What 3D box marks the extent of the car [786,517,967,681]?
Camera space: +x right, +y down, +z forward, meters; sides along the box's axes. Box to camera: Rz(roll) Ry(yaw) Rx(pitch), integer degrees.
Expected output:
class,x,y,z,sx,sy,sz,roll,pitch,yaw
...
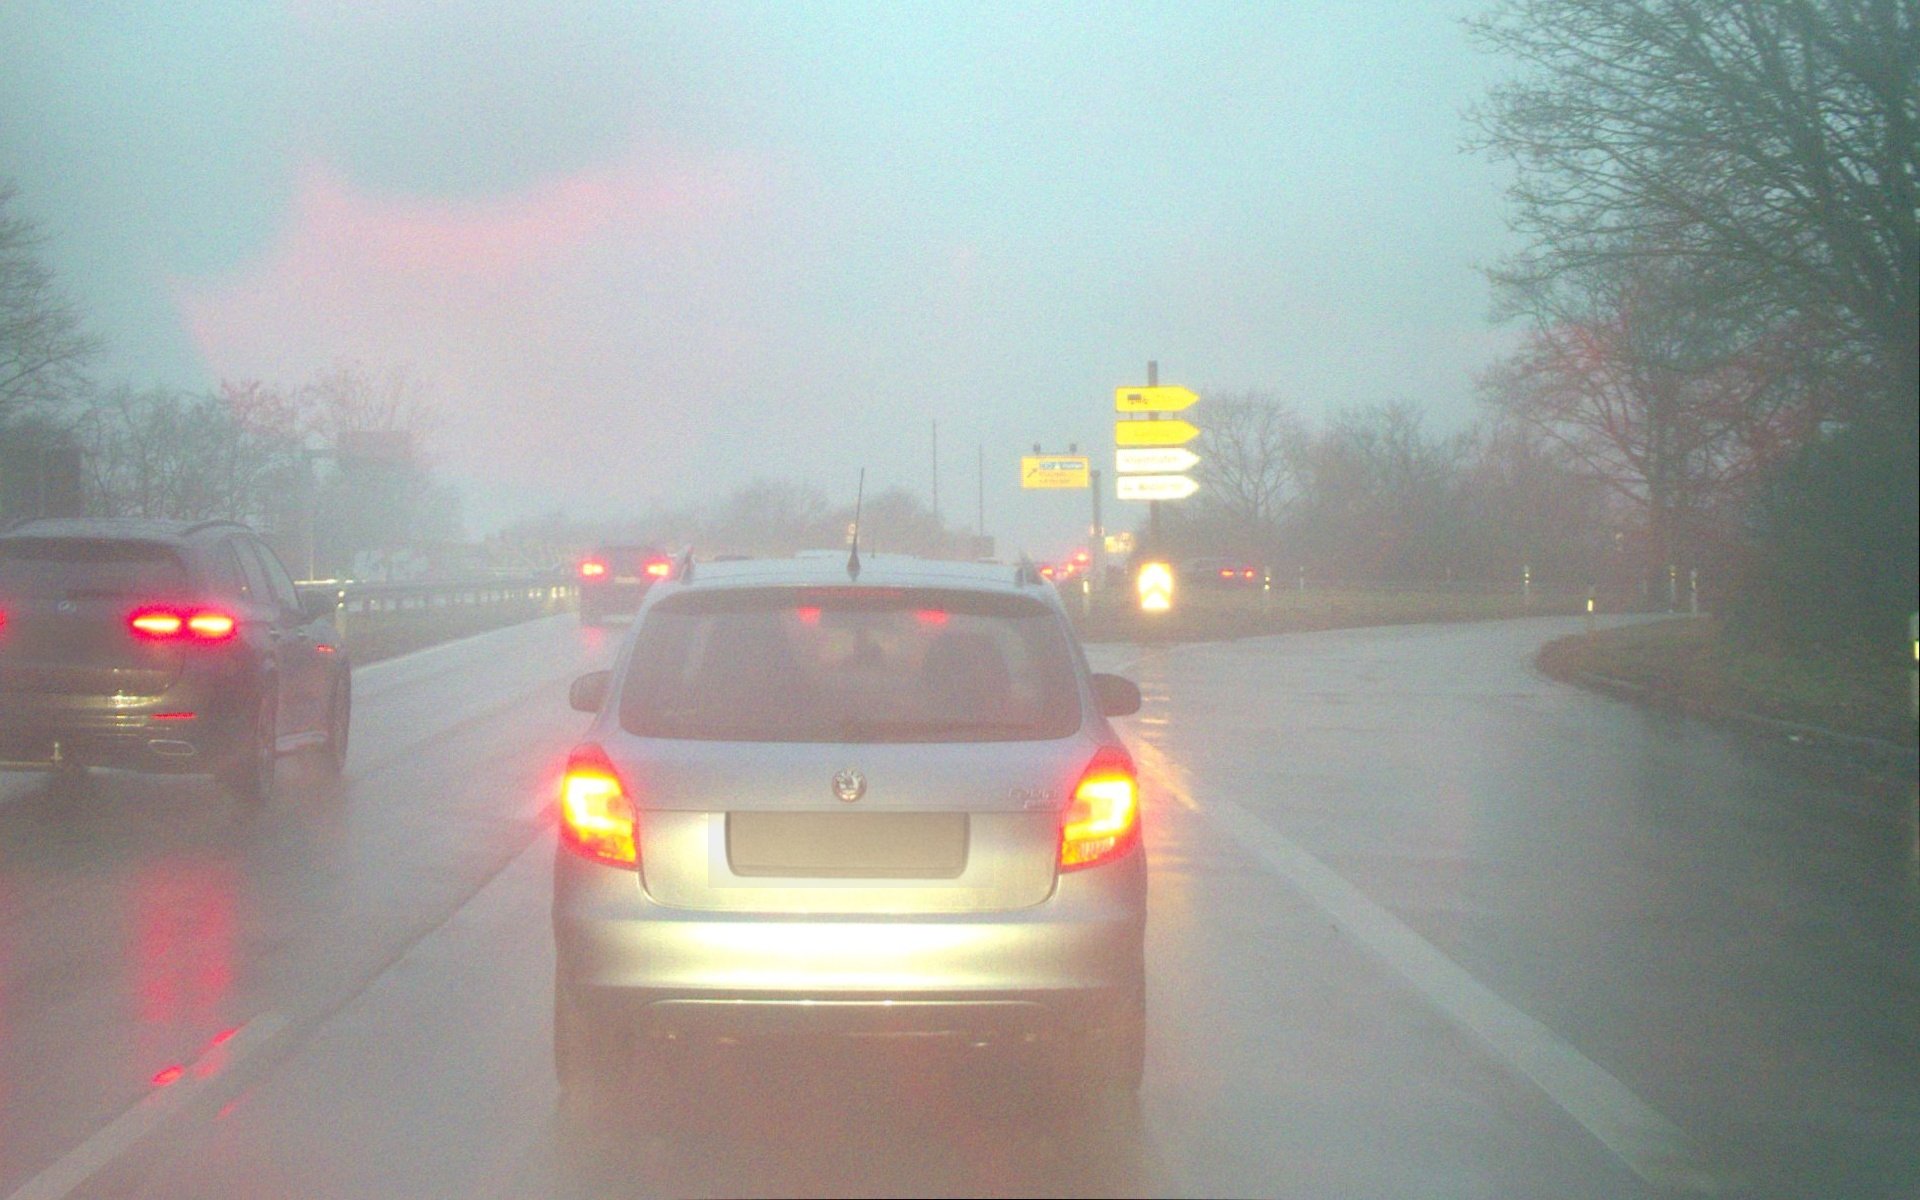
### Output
class,x,y,z,sx,sy,sz,roll,pitch,yaw
car,-1.011,-0.052,39.352,1.897,1.761,4.309,0,1,-4

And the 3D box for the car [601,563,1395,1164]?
class,x,y,z,sx,sy,sz,roll,pitch,yaw
car,0.104,0.657,10.825,1.993,1.495,4.138,-1,0,0

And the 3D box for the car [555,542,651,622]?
class,x,y,z,sx,sy,sz,roll,pitch,yaw
car,-7.047,-0.381,68.159,1.789,1.540,4.001,0,1,-5

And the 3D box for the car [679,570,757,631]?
class,x,y,z,sx,sy,sz,roll,pitch,yaw
car,-6.475,-0.010,92.241,1.789,1.540,4.000,-1,1,0

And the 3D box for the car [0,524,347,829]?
class,x,y,z,sx,sy,sz,roll,pitch,yaw
car,-4.950,0.371,20.245,1.993,1.596,4.309,1,1,-1

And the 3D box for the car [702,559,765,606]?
class,x,y,z,sx,sy,sz,roll,pitch,yaw
car,-7.537,-0.595,114.739,1.789,1.478,4.000,-1,1,0
